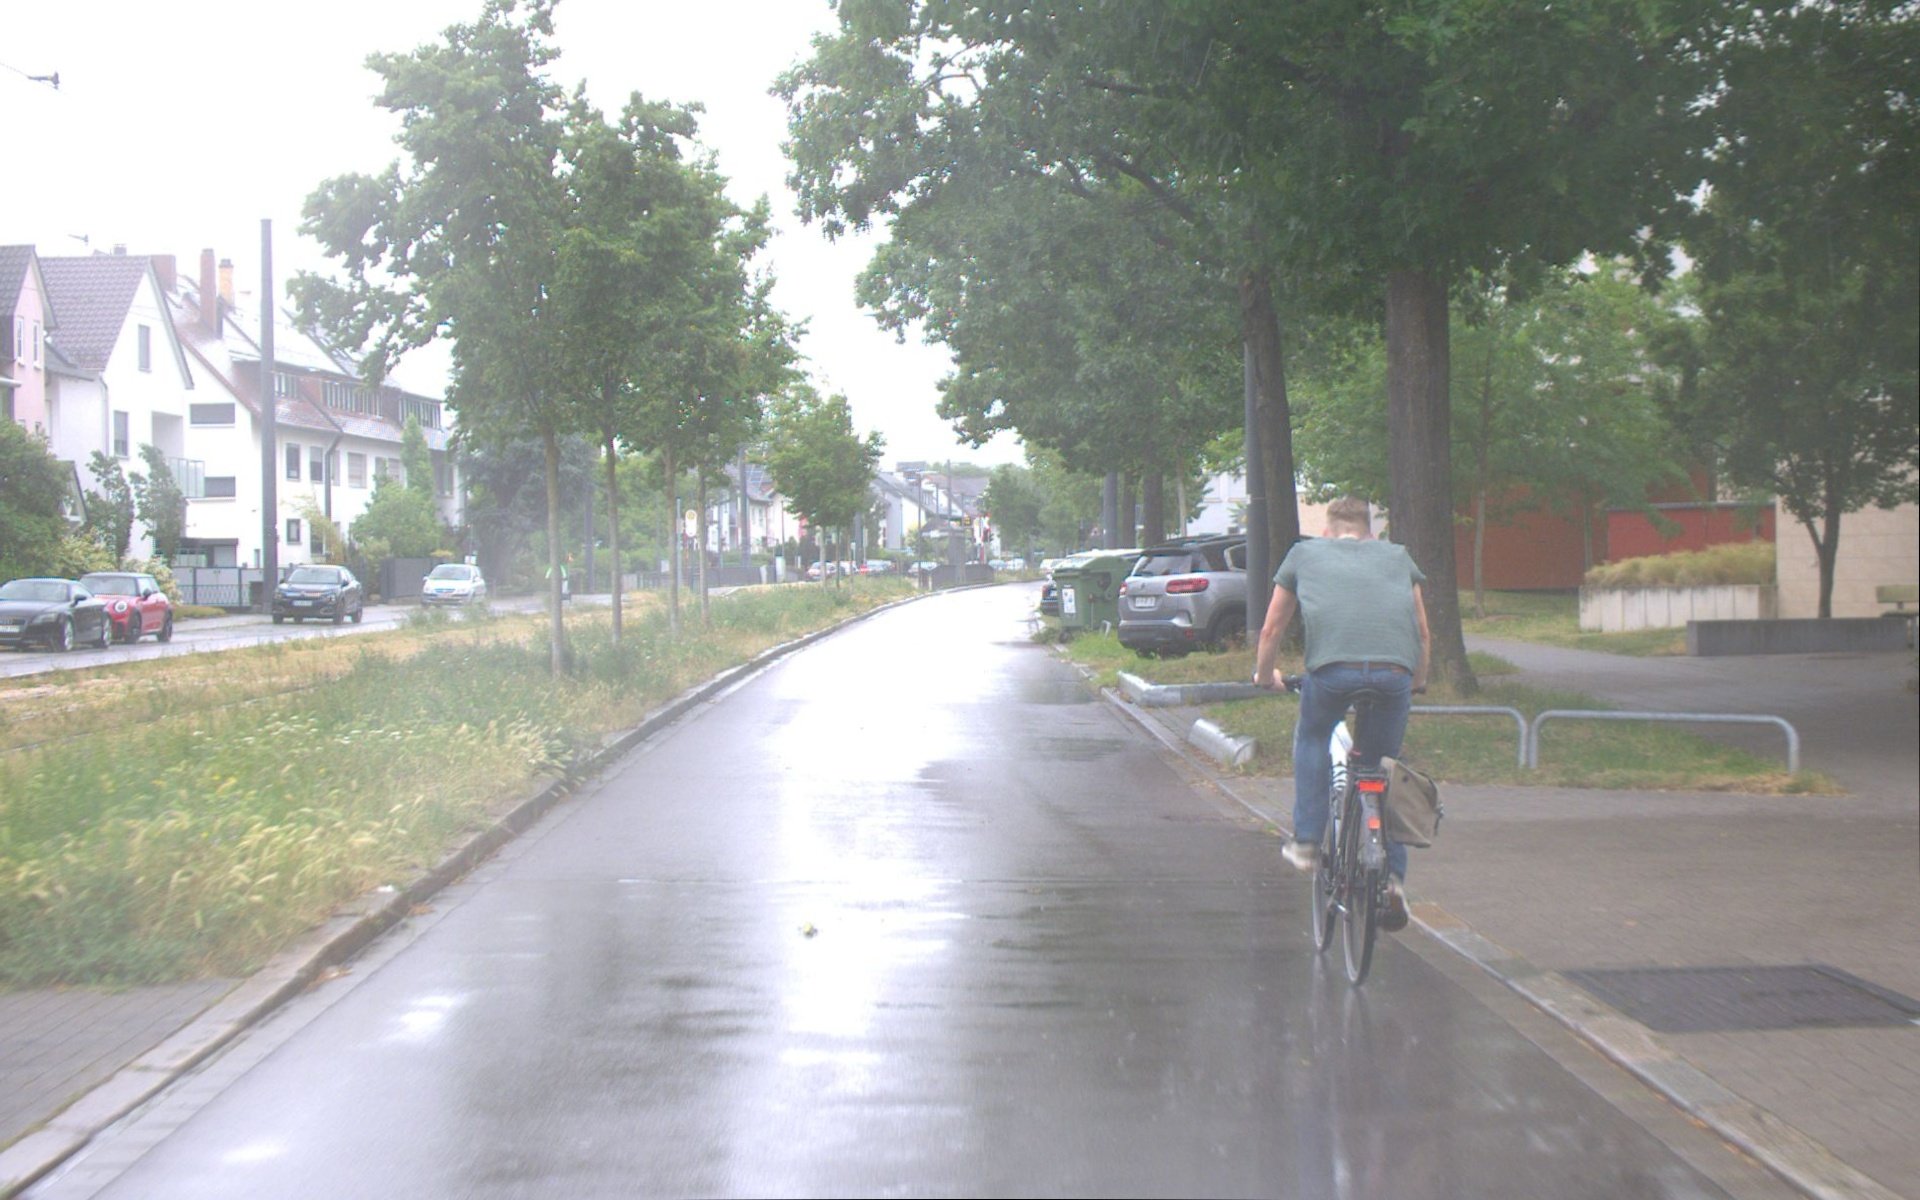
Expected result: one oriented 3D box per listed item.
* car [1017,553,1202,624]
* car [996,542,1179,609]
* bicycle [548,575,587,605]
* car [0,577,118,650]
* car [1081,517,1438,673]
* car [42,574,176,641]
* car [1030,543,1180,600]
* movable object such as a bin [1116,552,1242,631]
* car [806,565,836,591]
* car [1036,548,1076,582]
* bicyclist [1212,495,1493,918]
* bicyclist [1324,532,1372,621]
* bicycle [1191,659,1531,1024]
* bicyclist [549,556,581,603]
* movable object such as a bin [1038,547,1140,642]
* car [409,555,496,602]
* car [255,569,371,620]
[{"bbox_3d":[3.228,-0.263,73.705,4.030,1.438,1.584,-2,1,-43],"label":"car"},{"bbox_3d":[2.908,-0.573,78.224,4.028,1.438,1.585,-2,1,-36],"label":"car"},{"bbox_3d":[-14.246,-0.362,124.816,1.018,1.024,3.197,-1,1,0],"label":"bicycle"},{"bbox_3d":[-17.068,0.224,64.124,1.663,1.240,4.071,1,1,0],"label":"car"},{"bbox_3d":[3.871,-0.084,44.297,4.135,1.713,2.000,-4,2,-32],"label":"car"},{"bbox_3d":[-17.115,0.130,69.310,1.674,1.240,3.855,1,1,1],"label":"car"},{"bbox_3d":[4.024,-0.794,95.049,4.028,1.508,1.585,-2,1,-36],"label":"car"},{"bbox_3d":[3.701,-0.156,58.207,1.681,1.321,1.401,0,1,-21],"label":"movable object such as a bin"},{"bbox_3d":[-9.354,-1.490,231.210,1.843,1.666,4.000,-1,1,0],"label":"car"},{"bbox_3d":[4.595,-1.691,165.192,1.833,1.581,4.000,-1,1,0],"label":"car"},{"bbox_3d":[1.383,0.357,12.302,0.809,1.428,1.060,-1,1,-3],"label":"bicyclist"},{"bbox_3d":[7.046,-0.431,62.470,0.734,1.588,0.945,-1,1,0],"label":"bicyclist"},{"bbox_3d":[1.390,0.806,12.444,0.809,1.093,2.517,-1,1,-3],"label":"bicycle"},{"bbox_3d":[-14.258,-0.756,124.144,1.018,1.680,1.092,-1,1,0],"label":"bicyclist"},{"bbox_3d":[2.162,-0.100,57.812,1.125,1.452,1.401,-7,3,-21],"label":"movable object such as a bin"},{"bbox_3d":[-16.561,-0.715,112.300,1.897,1.464,4.687,1,1,3],"label":"car"},{"bbox_3d":[-16.911,-0.166,90.032,1.897,1.240,4.687,1,1,3],"label":"car"}]
